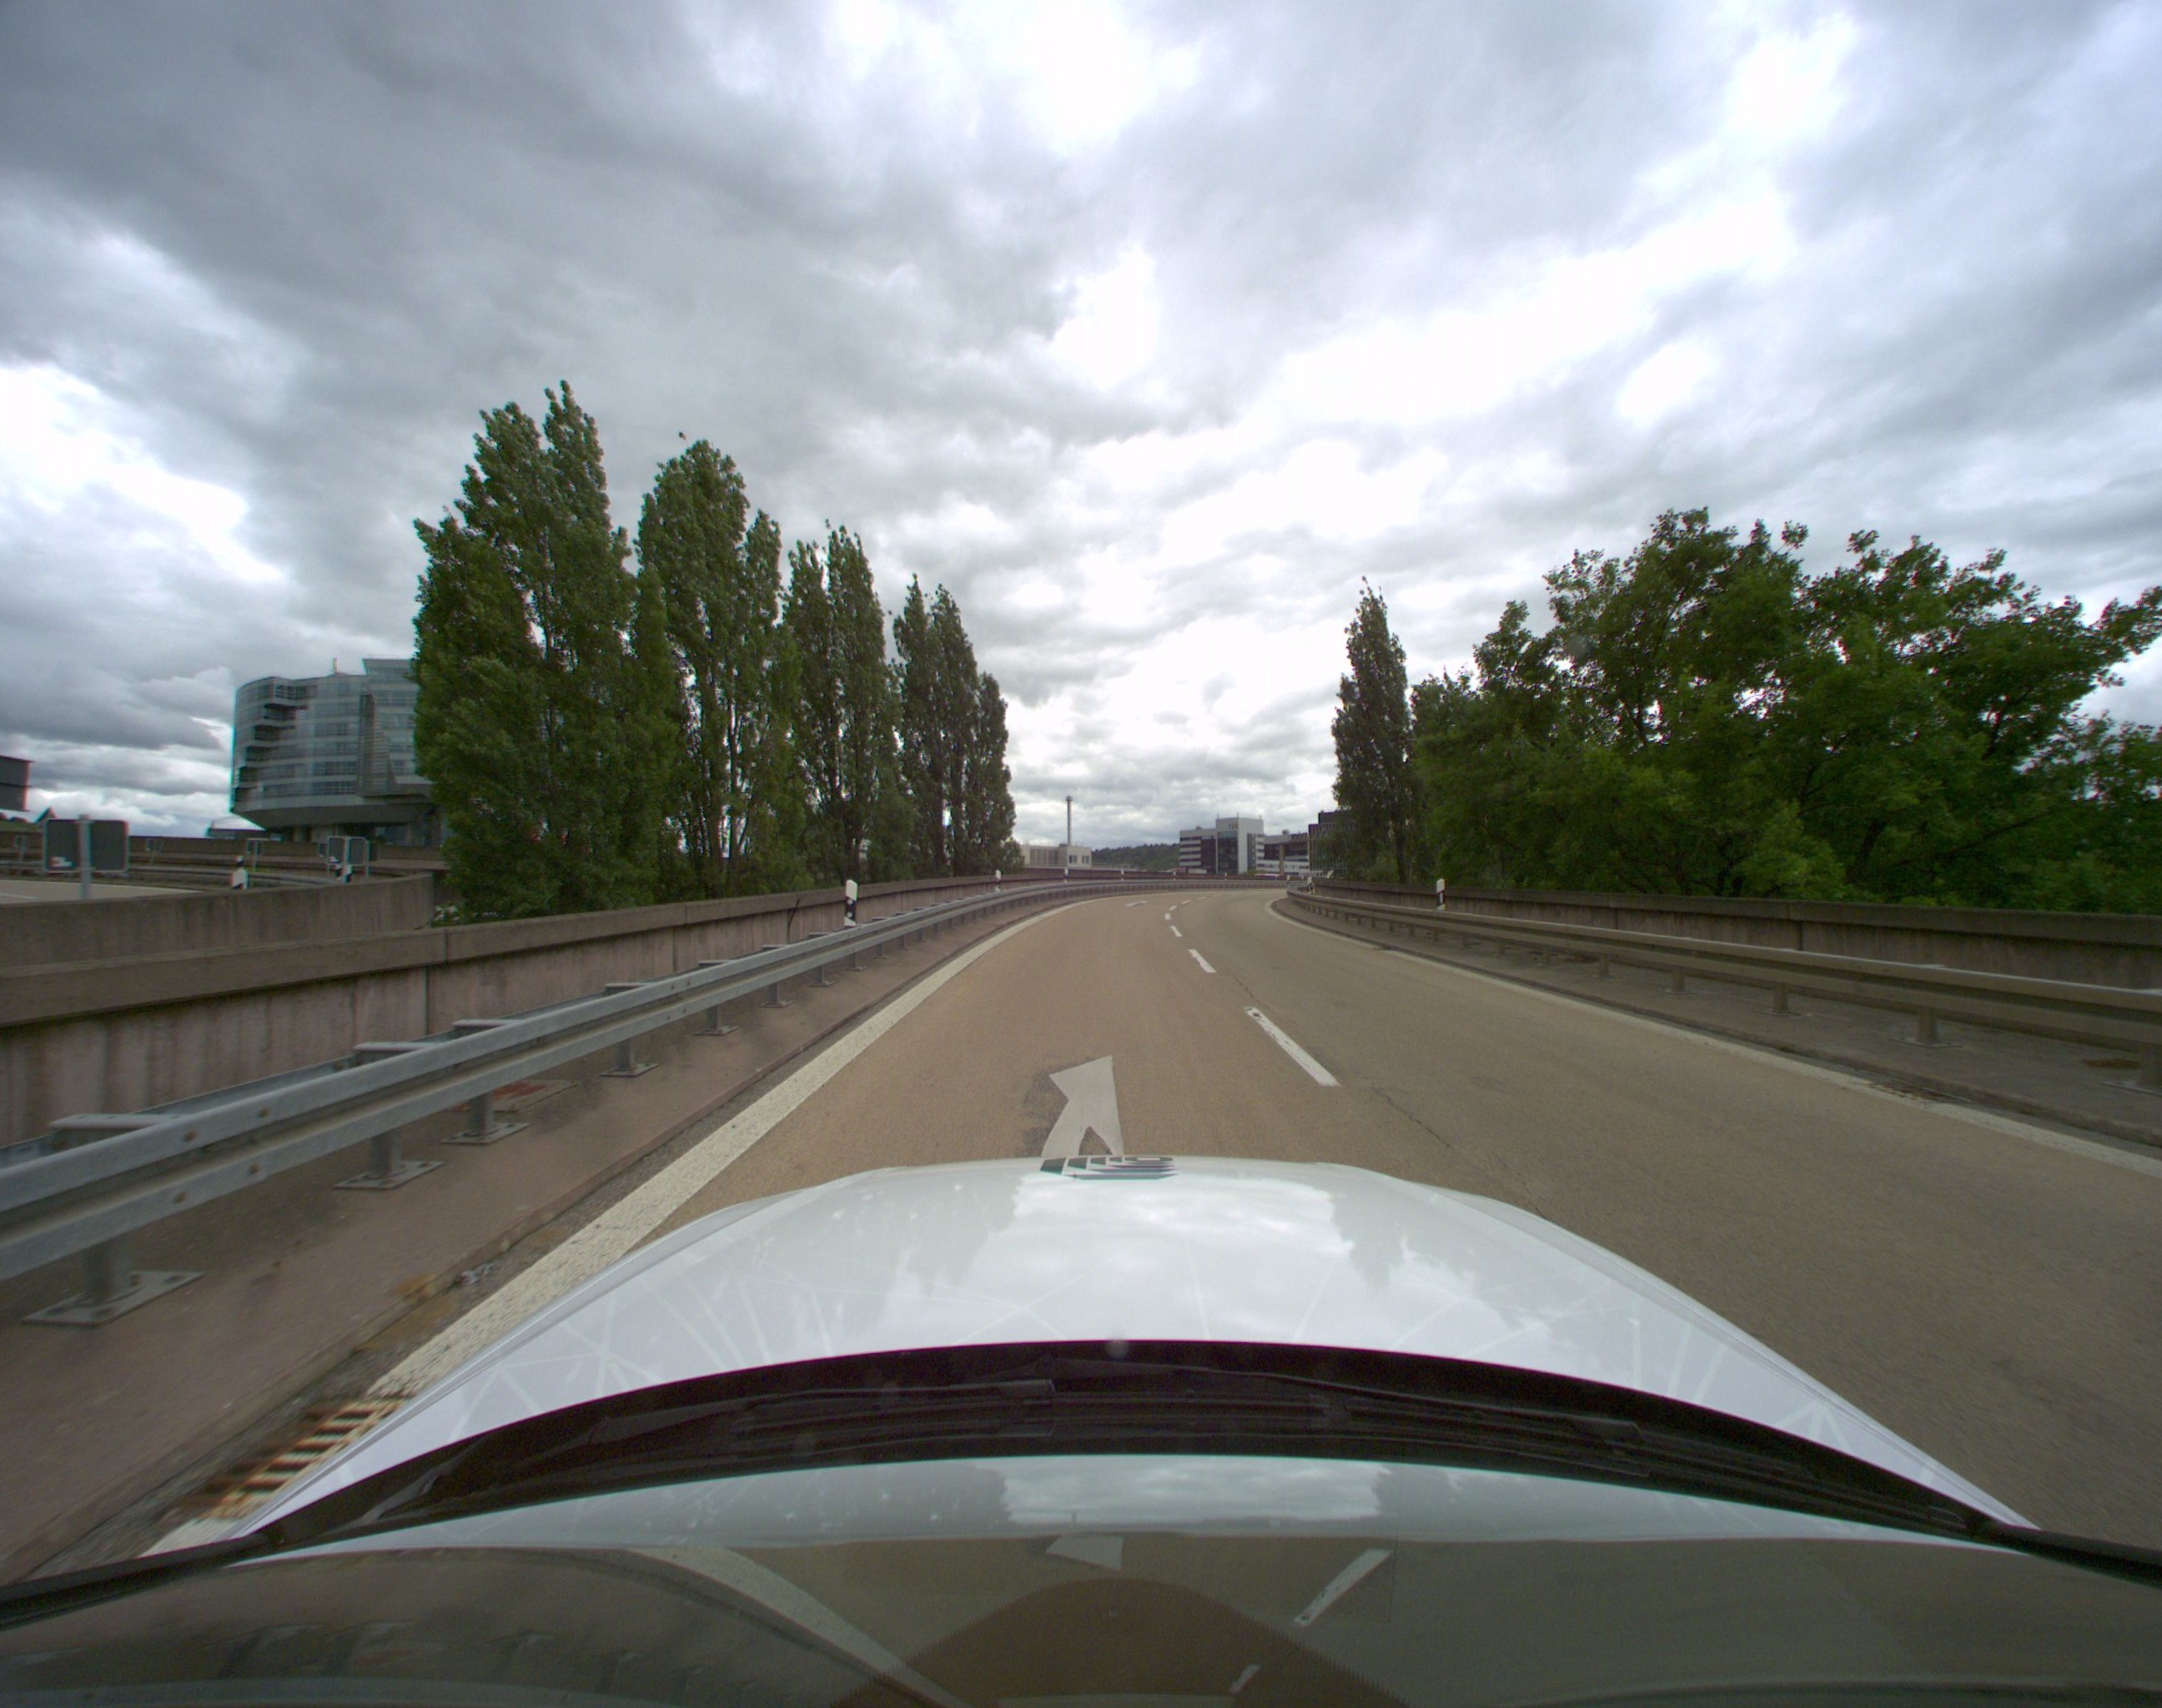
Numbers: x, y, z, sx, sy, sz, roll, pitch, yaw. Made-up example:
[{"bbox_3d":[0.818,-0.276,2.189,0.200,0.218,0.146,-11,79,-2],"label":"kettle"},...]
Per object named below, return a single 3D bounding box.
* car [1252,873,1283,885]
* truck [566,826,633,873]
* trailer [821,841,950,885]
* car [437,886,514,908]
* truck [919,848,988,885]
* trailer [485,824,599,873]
[{"bbox_3d":[24.760,3.302,108.155,3.655,1.518,1.675,2,1,-24],"label":"car"},{"bbox_3d":[-40.461,-0.325,68.589,4.447,3.691,2.676,1,-3,-26],"label":"truck"},{"bbox_3d":[-17.863,0.947,74.755,11.178,3.738,2.776,1,-3,-27],"label":"trailer"},{"bbox_3d":[-44.867,3.201,60.475,4.273,1.505,1.837,2,-1,-26],"label":"car"},{"bbox_3d":[-12.178,1.240,77.678,5.977,3.431,2.753,1,-3,-27],"label":"truck"},{"bbox_3d":[-44.026,-0.389,66.828,7.326,3.691,2.676,1,-3,-26],"label":"trailer"}]
